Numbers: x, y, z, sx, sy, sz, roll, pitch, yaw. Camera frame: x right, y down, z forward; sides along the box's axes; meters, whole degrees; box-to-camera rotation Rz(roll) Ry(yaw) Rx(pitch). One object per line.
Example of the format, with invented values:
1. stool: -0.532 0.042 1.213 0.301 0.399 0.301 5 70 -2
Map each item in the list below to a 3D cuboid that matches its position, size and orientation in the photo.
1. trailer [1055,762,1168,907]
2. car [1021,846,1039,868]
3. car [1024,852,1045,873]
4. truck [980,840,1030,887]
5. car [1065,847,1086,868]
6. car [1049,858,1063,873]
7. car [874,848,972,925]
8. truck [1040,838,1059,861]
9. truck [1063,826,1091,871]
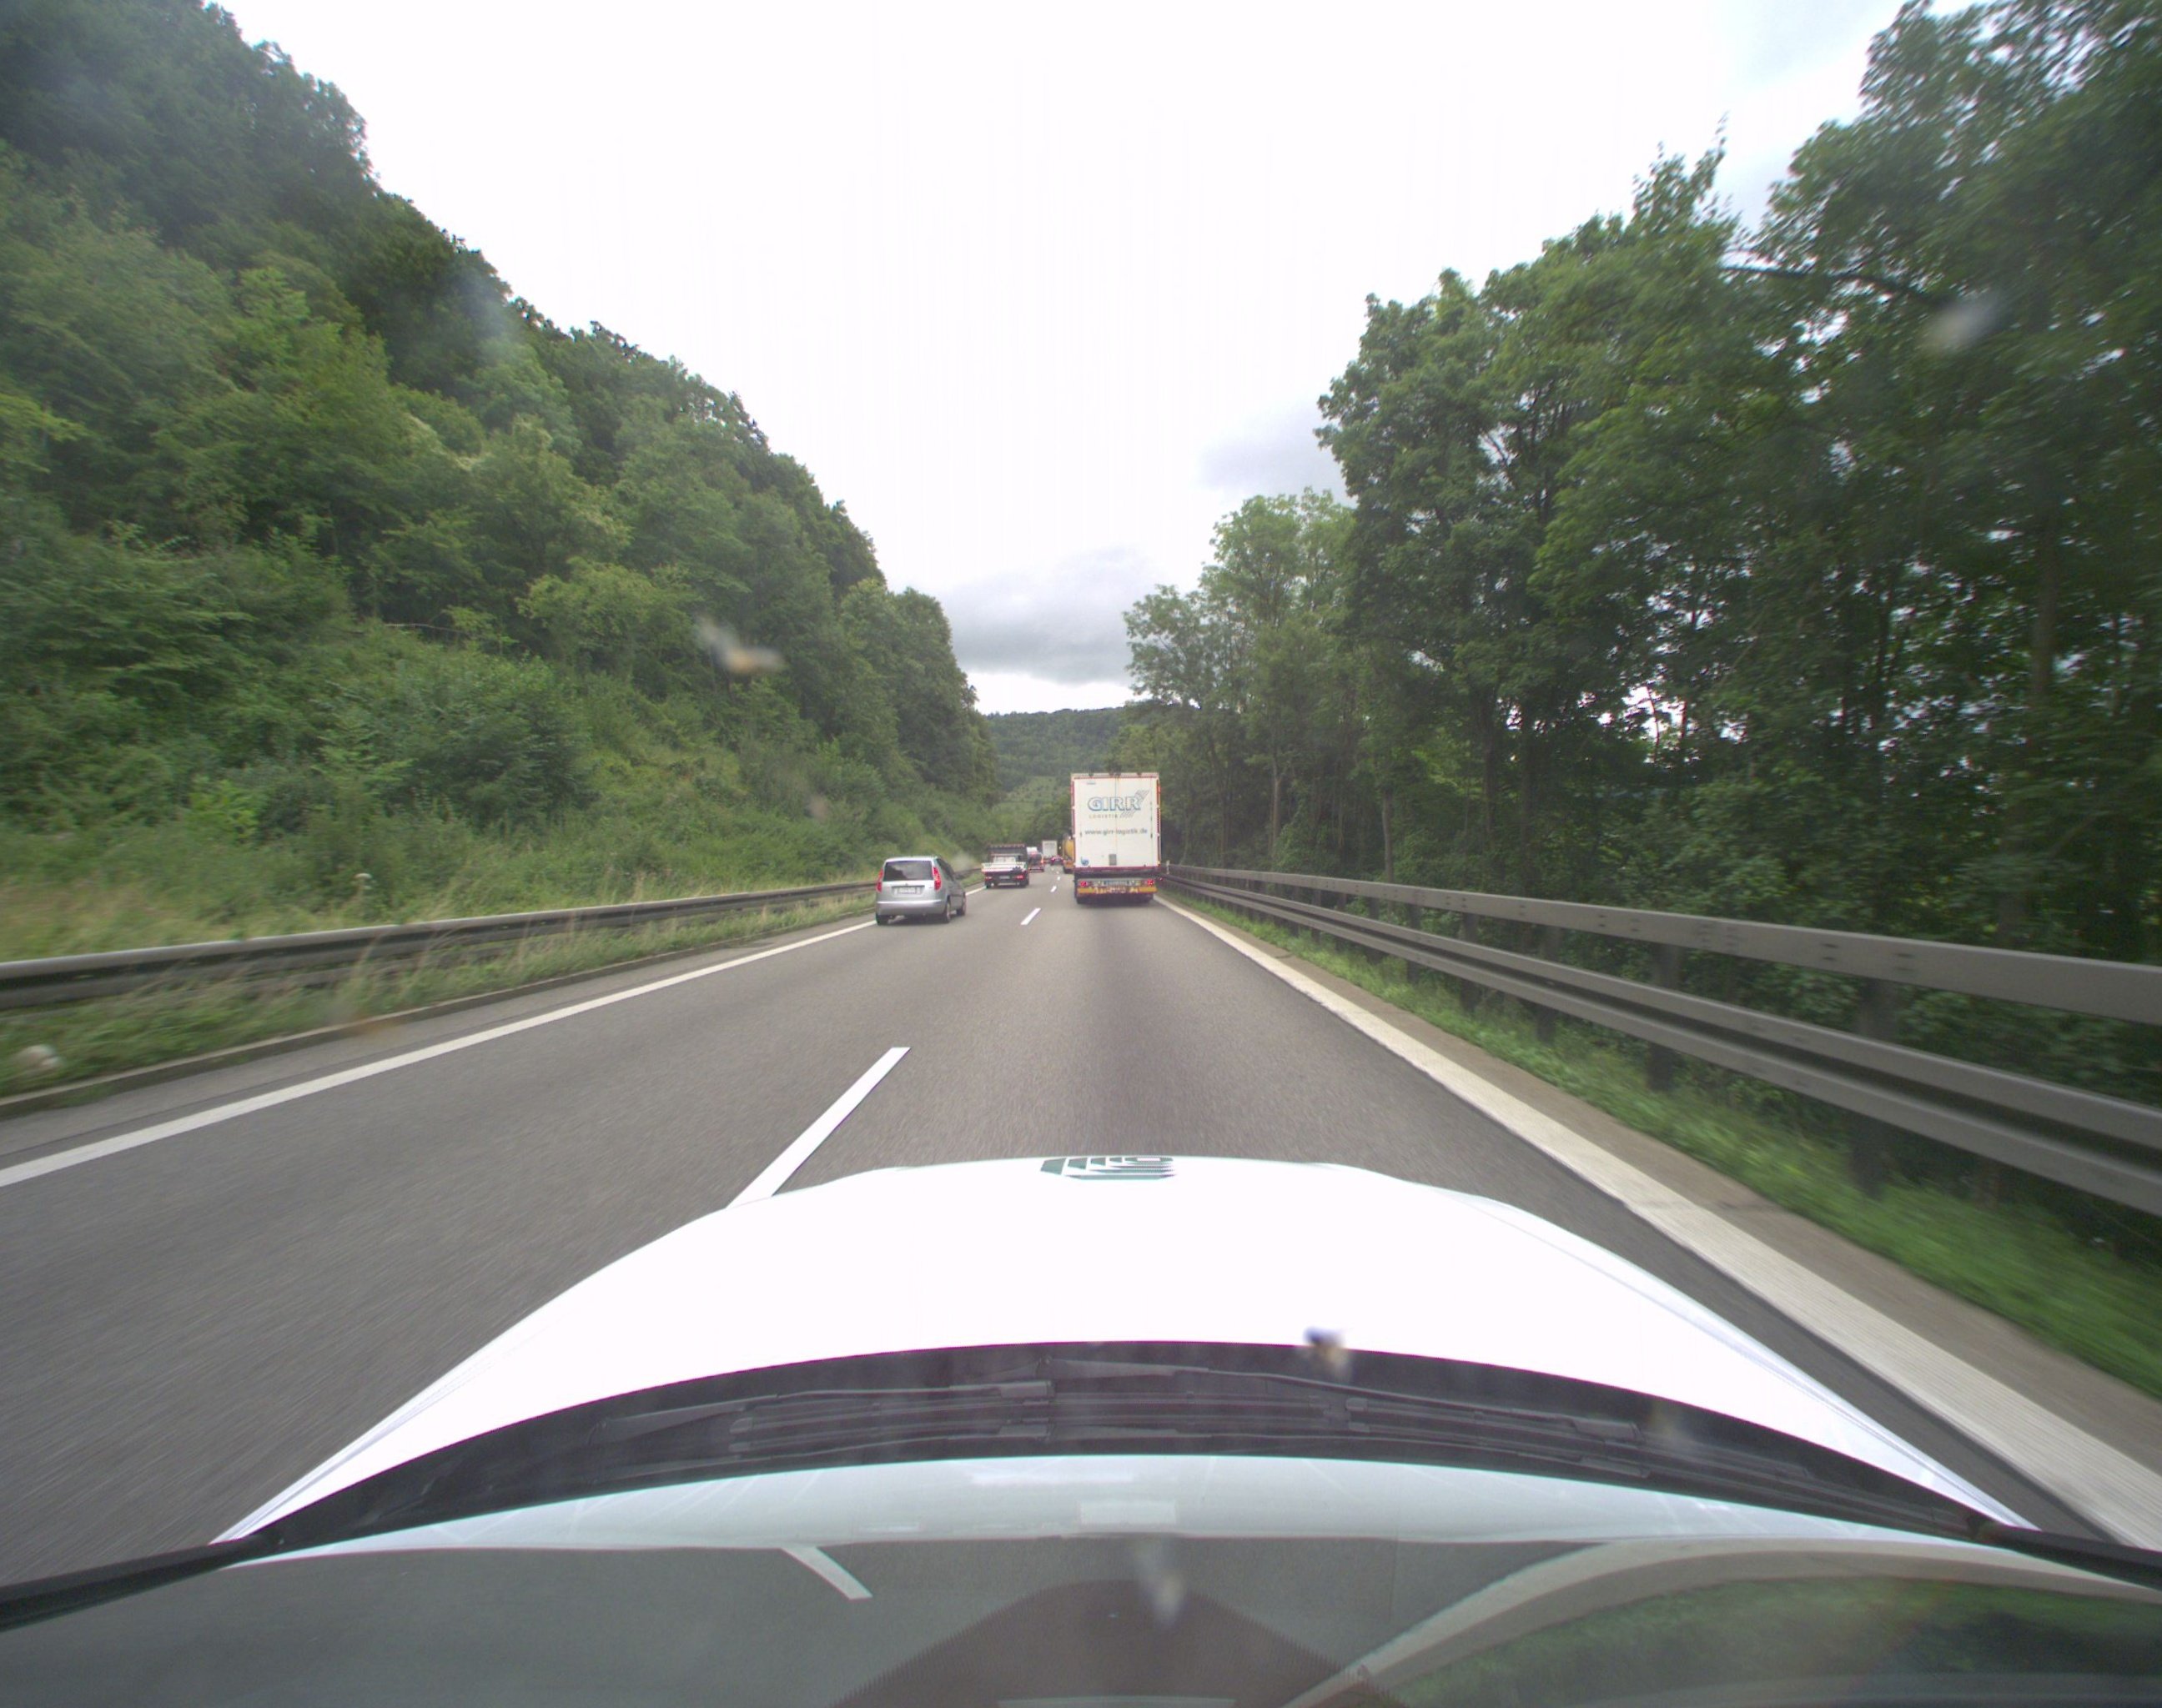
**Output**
1. trailer: 0.810 -0.551 27.966 3.124 4.042 9.435 2 0 -1
2. car: -6.117 0.390 98.514 2.119 2.598 5.557 -1 0 -3
3. car: -4.459 0.815 78.679 2.013 1.914 5.557 0 0 -3
4. truck: -3.916 0.487 43.174 2.344 2.274 6.841 0 0 -3
5. car: -0.568 0.392 81.833 1.988 2.014 4.330 0 -1 -1
6. car: -3.591 1.602 115.985 1.989 2.014 3.995 0 -1 -3
7. car: -3.854 0.737 20.519 1.629 1.726 4.343 -1 0 0
8. truck: -5.452 -0.668 139.622 3.063 3.877 8.446 0 -1 -4
9. truck: -0.264 -0.421 71.601 2.225 3.804 6.824 0 -1 1
